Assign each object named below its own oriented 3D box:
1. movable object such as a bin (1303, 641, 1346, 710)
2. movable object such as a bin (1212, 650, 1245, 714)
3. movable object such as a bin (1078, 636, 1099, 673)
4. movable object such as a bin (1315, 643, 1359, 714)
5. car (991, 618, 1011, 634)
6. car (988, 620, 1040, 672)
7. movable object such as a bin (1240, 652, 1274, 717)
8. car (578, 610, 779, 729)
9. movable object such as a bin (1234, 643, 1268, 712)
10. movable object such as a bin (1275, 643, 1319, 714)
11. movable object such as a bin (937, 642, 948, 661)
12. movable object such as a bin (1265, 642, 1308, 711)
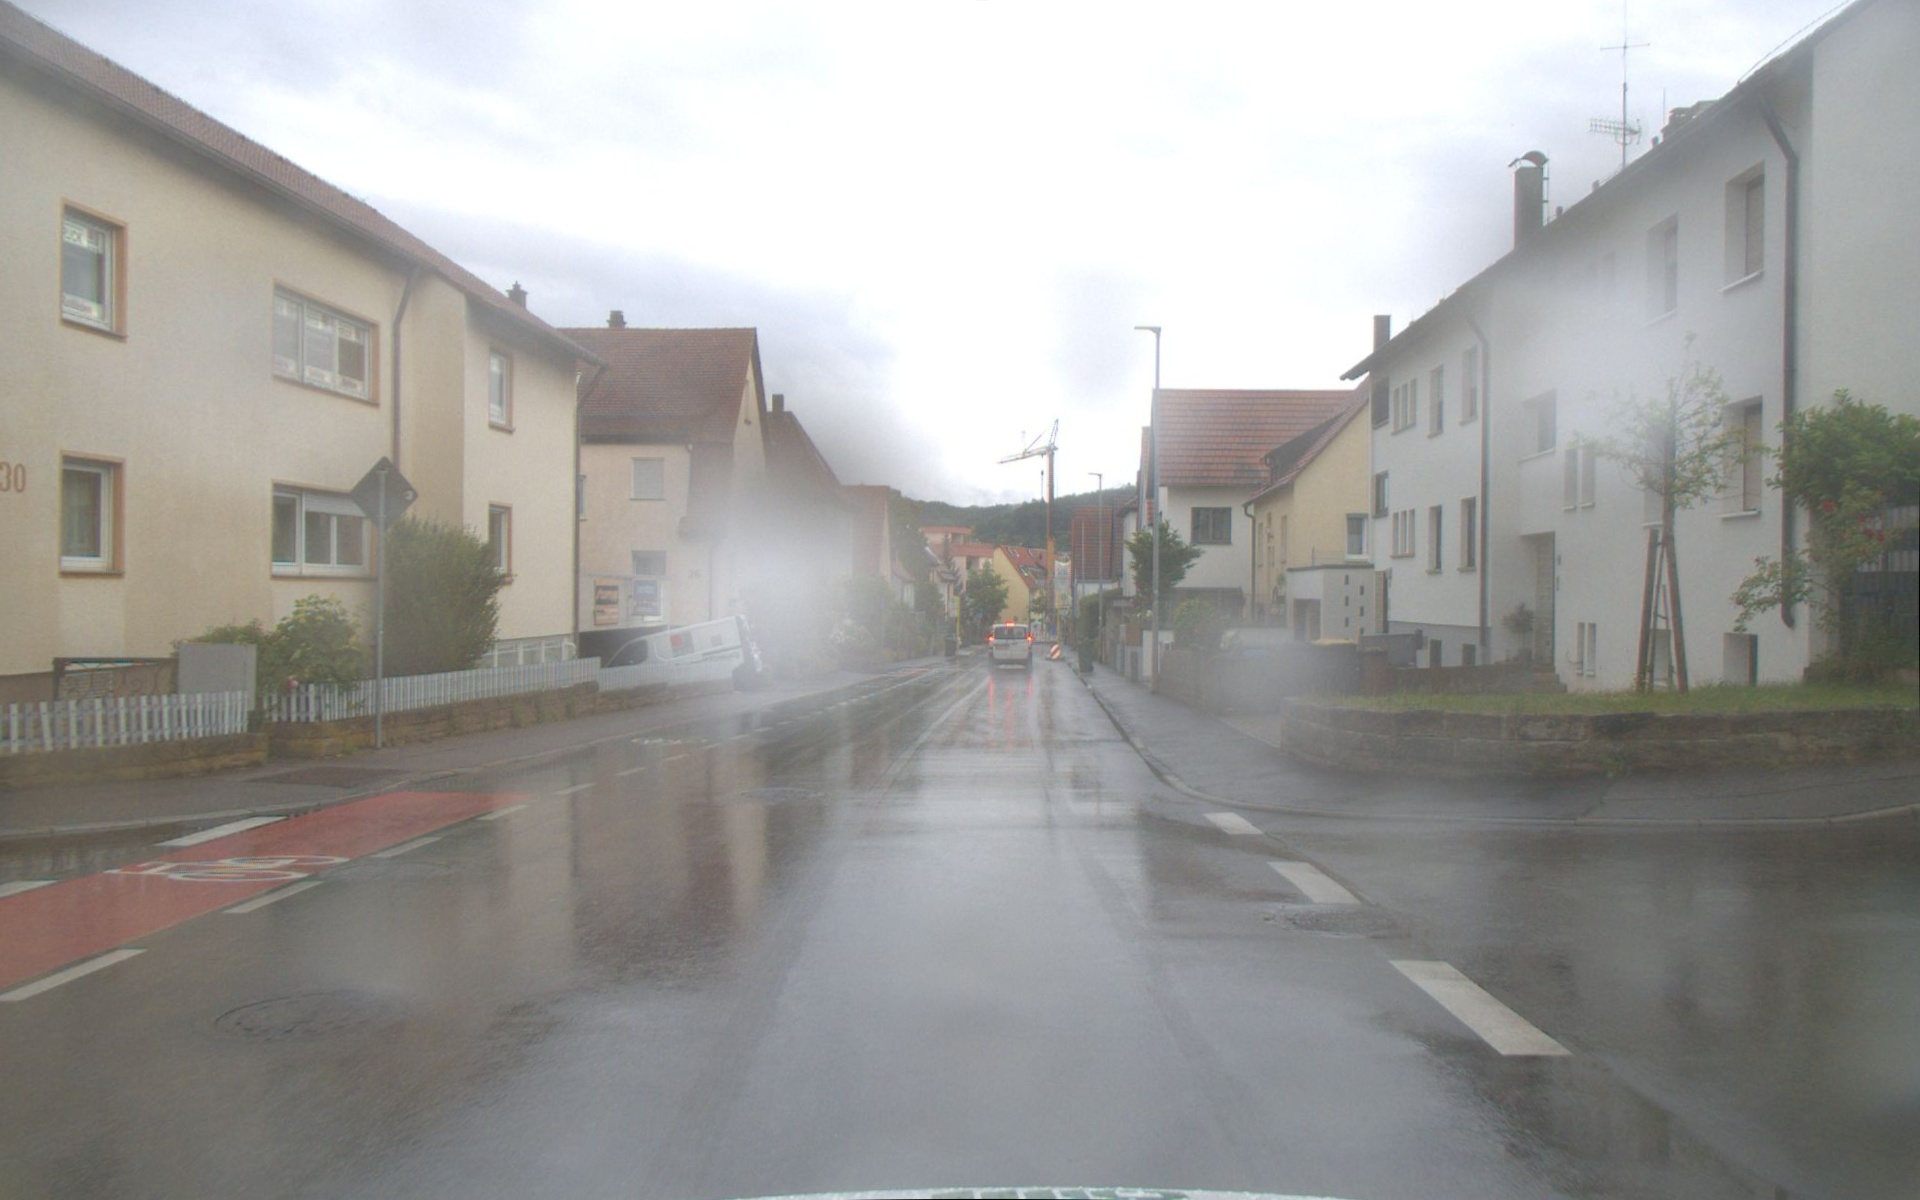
[{"bbox_3d":[5.797,1.189,26.323,0.533,1.046,0.632,1,1,1],"label":"movable object such as a bin"},{"bbox_3d":[4.166,1.265,25.660,0.416,0.957,0.508,1,1,1],"label":"movable object such as a bin"},{"bbox_3d":[4.756,2.018,61.313,0.729,1.301,0.882,0,1,3],"label":"movable object such as a bin"},{"bbox_3d":[5.835,1.206,25.636,0.517,1.046,0.632,1,1,1],"label":"movable object such as a bin"},{"bbox_3d":[4.619,2.959,185.871,1.802,1.606,4.293,2,1,7],"label":"car"},{"bbox_3d":[2.335,1.916,70.168,2.073,1.921,4.504,2,1,3],"label":"car"},{"bbox_3d":[4.600,1.306,25.636,0.416,0.957,0.508,1,1,1],"label":"movable object such as a bin"},{"bbox_3d":[-7.211,1.763,42.690,4.467,2.045,2.160,-12,1,2],"label":"car"},{"bbox_3d":[4.631,1.231,26.317,0.416,1.046,0.632,1,1,1],"label":"movable object such as a bin"},{"bbox_3d":[5.220,1.207,25.642,0.533,1.046,0.632,1,1,1],"label":"movable object such as a bin"},{"bbox_3d":[-1.195,3.452,111.171,0.669,1.244,0.639,1,1,-2],"label":"movable object such as a bin"},{"bbox_3d":[5.191,1.208,26.327,0.533,1.046,0.632,1,1,1],"label":"movable object such as a bin"}]
